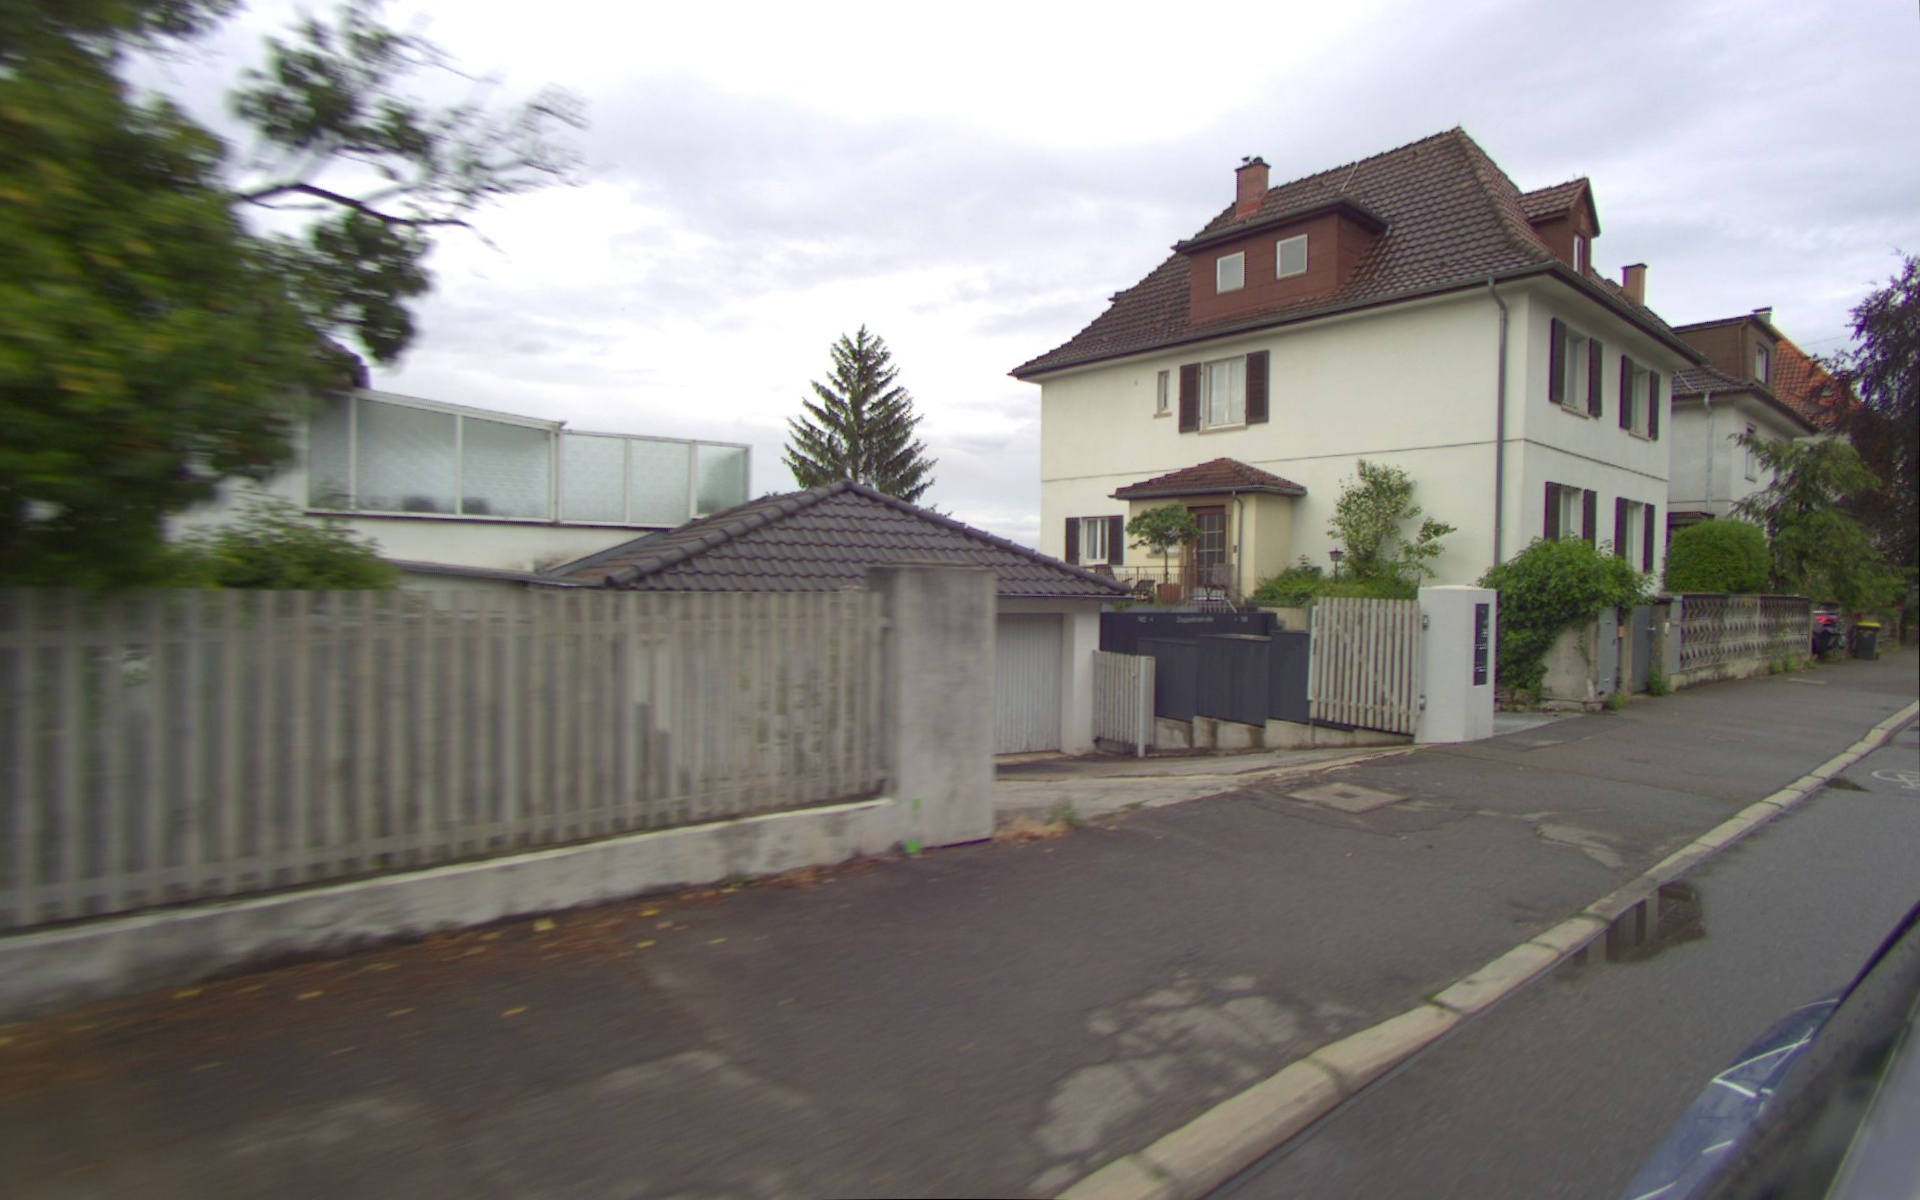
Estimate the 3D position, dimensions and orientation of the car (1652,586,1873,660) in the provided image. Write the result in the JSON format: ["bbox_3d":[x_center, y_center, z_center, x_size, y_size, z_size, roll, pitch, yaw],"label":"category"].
[{"bbox_3d":[19.550,0.544,24.783,1.884,1.661,3.993,2,-2,-41],"label":"car"}]

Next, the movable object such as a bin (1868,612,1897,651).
[{"bbox_3d":[22.982,0.780,25.215,0.494,0.968,0.494,3,-2,-43],"label":"movable object such as a bin"}]
